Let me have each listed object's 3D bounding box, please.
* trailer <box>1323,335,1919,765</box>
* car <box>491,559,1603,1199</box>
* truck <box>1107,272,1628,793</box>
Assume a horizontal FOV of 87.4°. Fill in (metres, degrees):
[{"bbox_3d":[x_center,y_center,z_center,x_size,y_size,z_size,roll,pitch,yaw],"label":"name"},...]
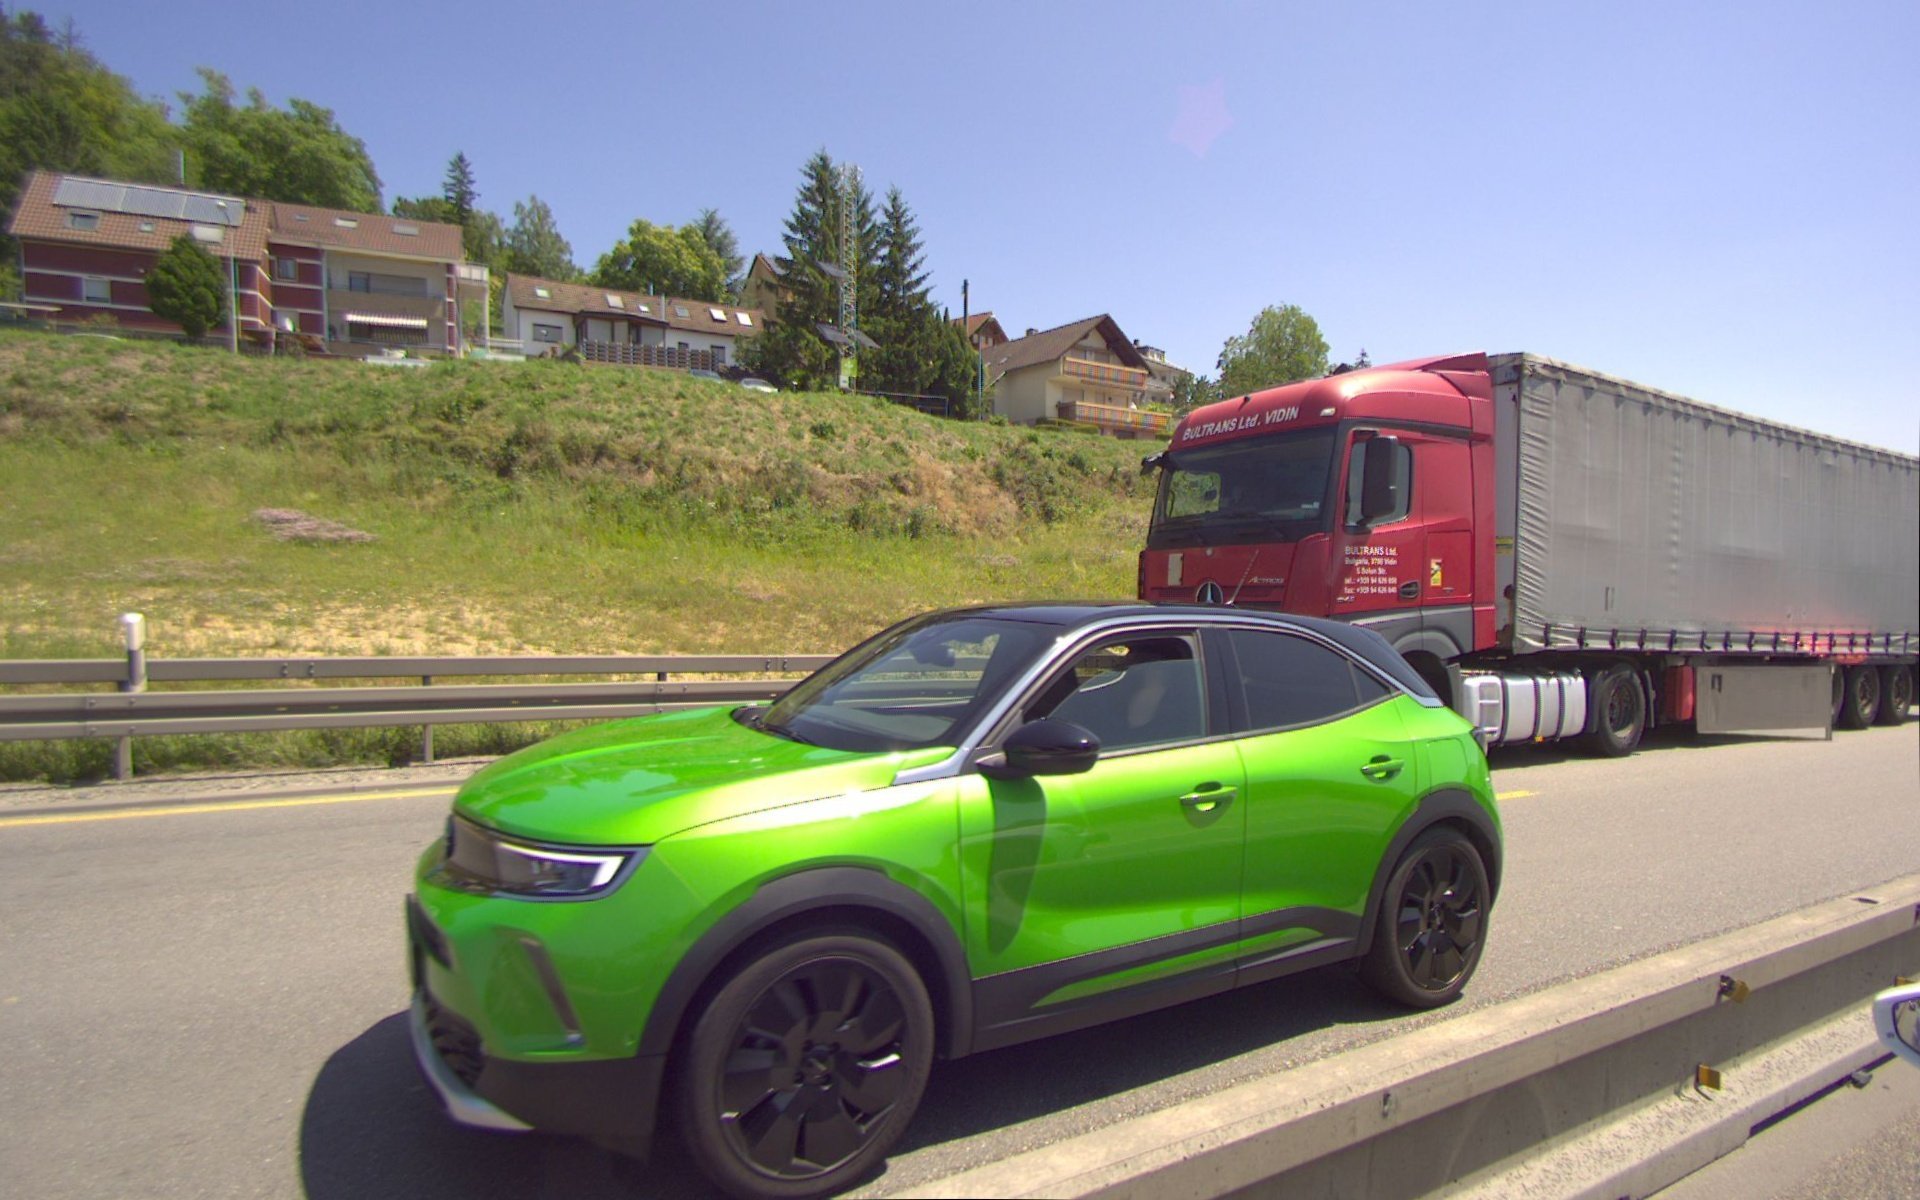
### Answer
[{"bbox_3d":[10.864,-0.369,14.433,13.282,4.179,2.842,1,0,-31],"label":"trailer"},{"bbox_3d":[0.460,0.691,3.854,3.953,1.528,1.745,1,2,-31],"label":"car"},{"bbox_3d":[4.223,-0.508,10.454,4.545,4.179,2.807,1,0,-31],"label":"truck"}]
